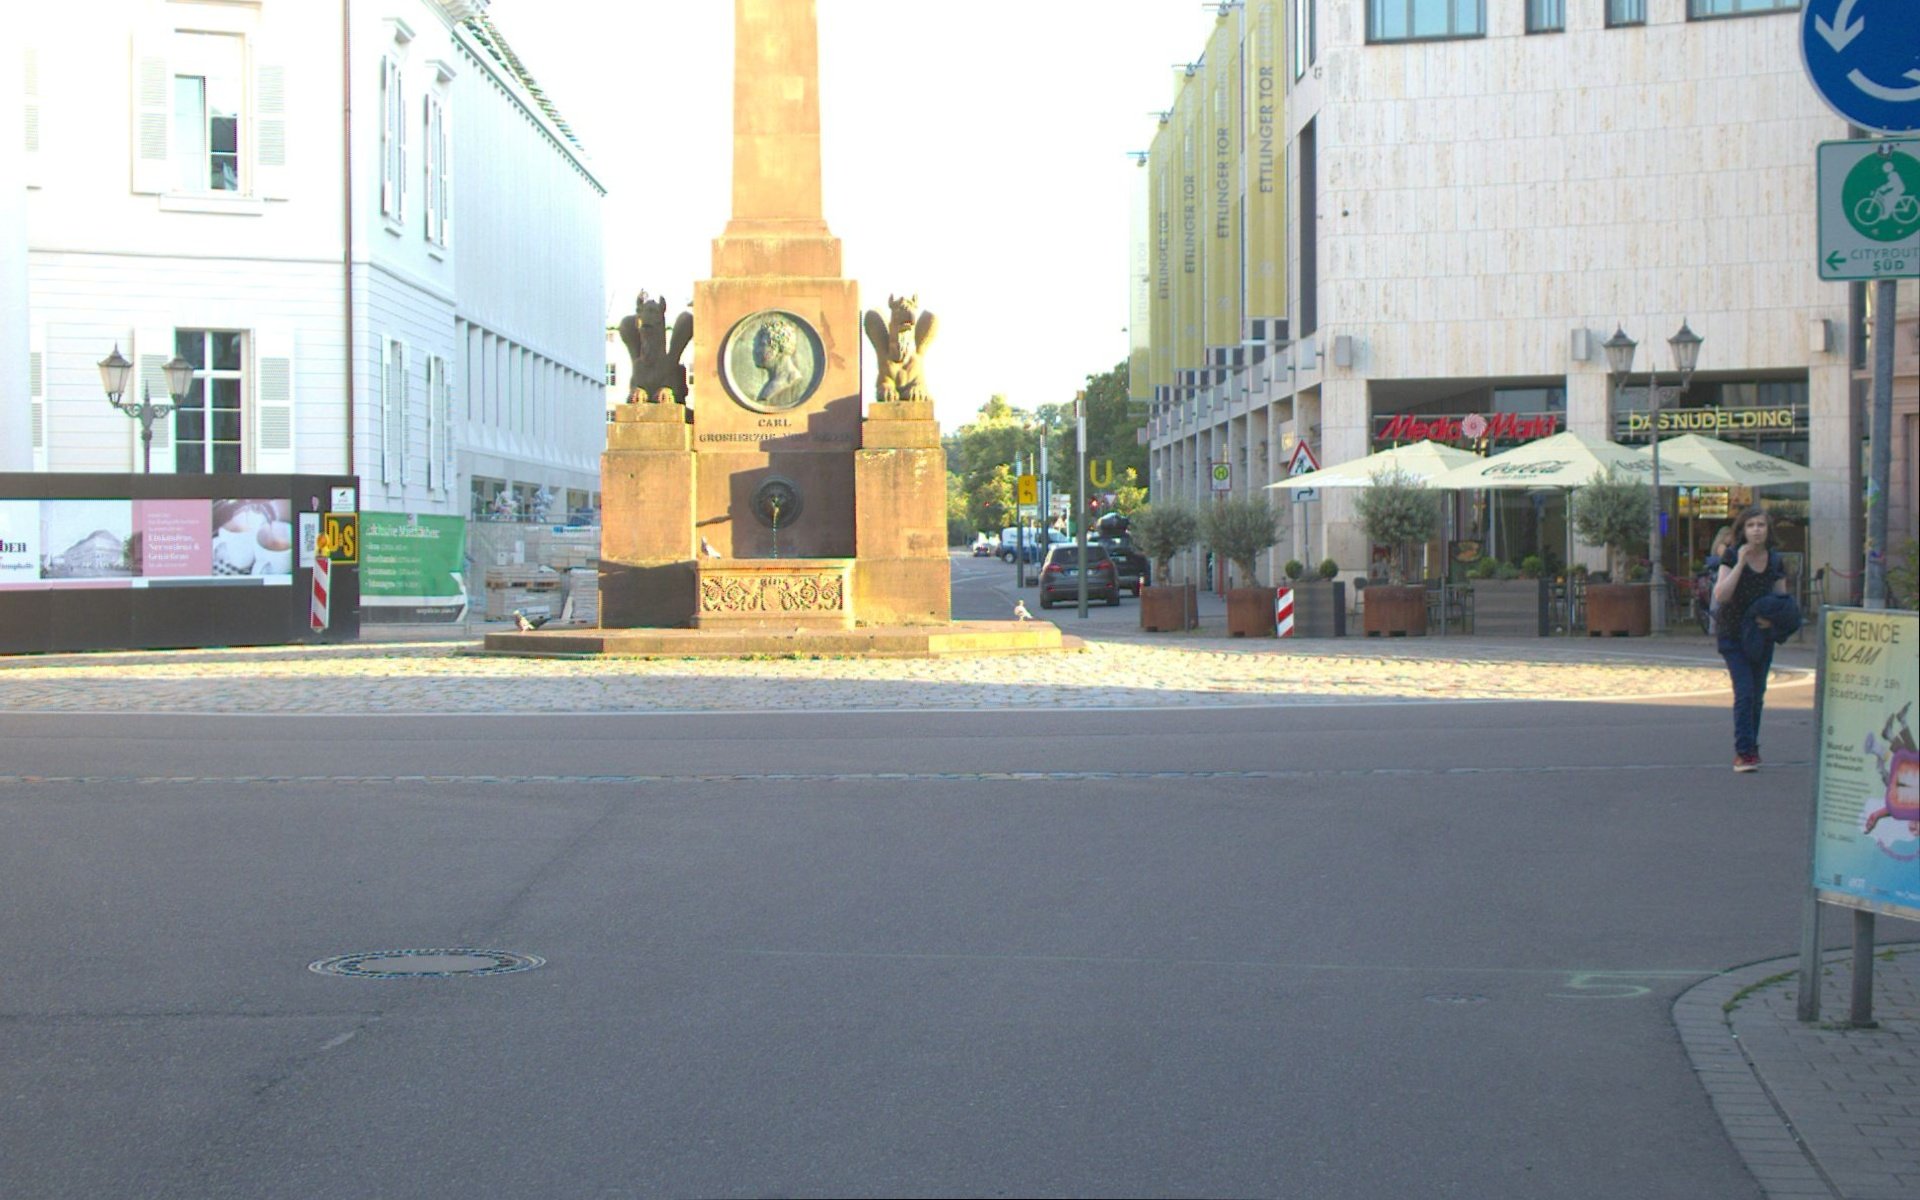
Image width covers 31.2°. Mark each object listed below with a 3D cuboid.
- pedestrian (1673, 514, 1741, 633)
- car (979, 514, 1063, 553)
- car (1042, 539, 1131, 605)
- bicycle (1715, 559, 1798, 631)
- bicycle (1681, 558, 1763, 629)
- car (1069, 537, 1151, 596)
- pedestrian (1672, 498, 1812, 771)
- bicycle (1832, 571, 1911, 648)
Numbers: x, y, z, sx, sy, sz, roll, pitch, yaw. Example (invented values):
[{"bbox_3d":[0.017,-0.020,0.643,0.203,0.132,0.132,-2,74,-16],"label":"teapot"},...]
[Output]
[{"bbox_3d":[10.876,-0.389,50.059,0.905,1.722,0.849,0,1,8],"label":"pedestrian"},{"bbox_3d":[3.208,-3.513,180.409,3.995,2.007,1.996,0,2,37],"label":"car"},{"bbox_3d":[2.894,-0.656,79.207,1.993,1.459,4.000,0,1,1],"label":"car"},{"bbox_3d":[11.792,-0.078,50.896,0.620,1.028,1.642,0,1,35],"label":"bicycle"},{"bbox_3d":[11.405,-0.112,51.444,0.601,1.028,1.642,0,1,35],"label":"bicycle"},{"bbox_3d":[3.803,-0.864,87.671,1.993,1.459,4.000,0,1,1],"label":"car"},{"bbox_3d":[4.791,0.201,21.092,0.690,1.642,0.696,0,1,-1],"label":"pedestrian"},{"bbox_3d":[12.549,0.120,47.325,0.507,1.028,1.642,0,1,35],"label":"bicycle"}]
